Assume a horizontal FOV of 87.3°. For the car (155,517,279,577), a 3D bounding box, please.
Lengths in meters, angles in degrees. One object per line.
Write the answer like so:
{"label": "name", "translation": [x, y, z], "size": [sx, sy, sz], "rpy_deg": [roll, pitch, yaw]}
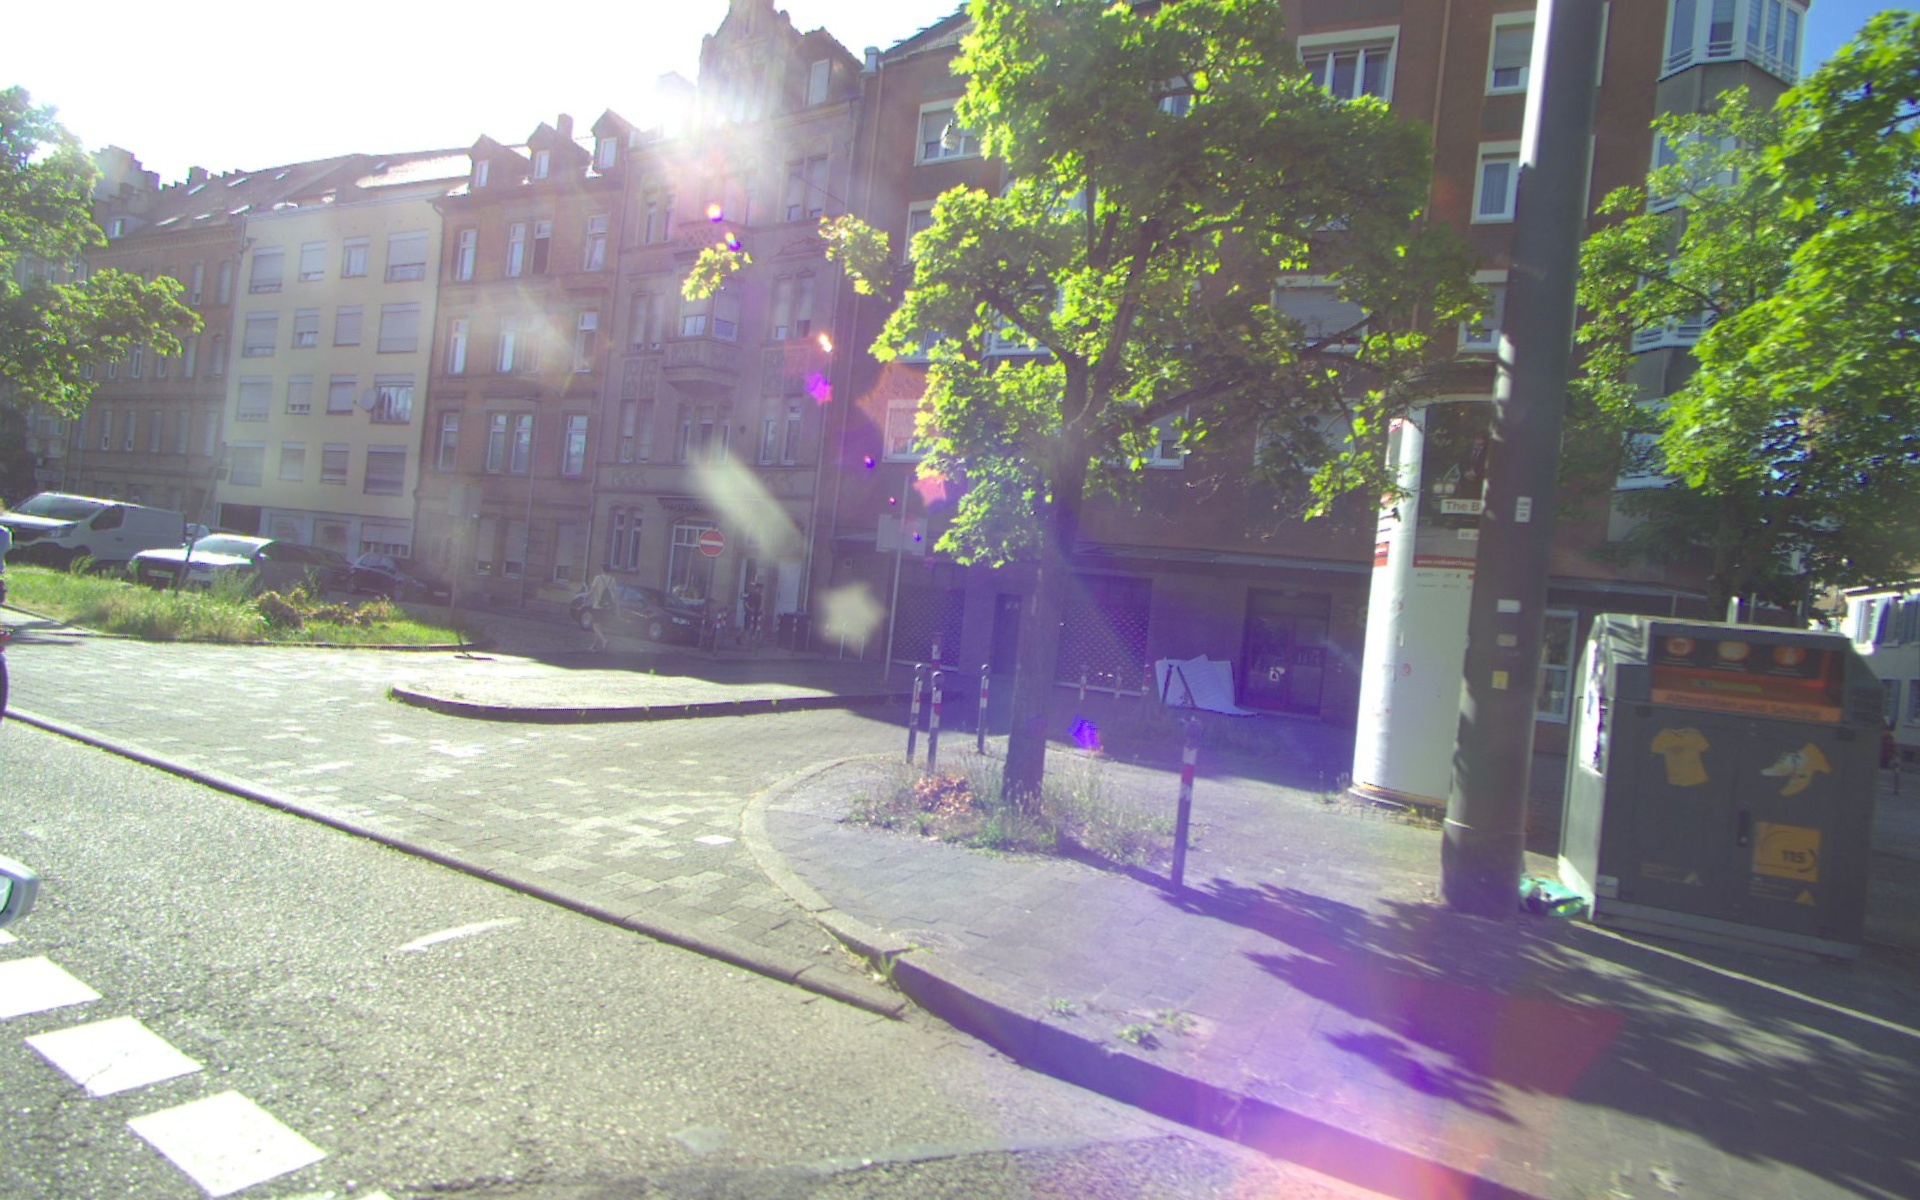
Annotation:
{"label": "car", "translation": [-28.962, -2.068, 39.200], "size": [4.545, 1.823, 1.997], "rpy_deg": [6, 1, 27]}

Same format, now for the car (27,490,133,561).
{"label": "car", "translation": [-38.452, -3.277, 43.924], "size": [4.436, 2.618, 1.996], "rpy_deg": [6, 1, 29]}

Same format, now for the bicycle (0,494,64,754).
{"label": "bicycle", "translation": [-6.922, 0.080, 6.887], "size": [1.905, 1.659, 0.438], "rpy_deg": [6, 0, 28]}

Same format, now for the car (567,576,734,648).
{"label": "car", "translation": [-8.538, 0.324, 27.670], "size": [4.415, 1.492, 1.807], "rpy_deg": [6, -1, 31]}

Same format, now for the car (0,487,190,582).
{"label": "car", "translation": [-22.632, -1.619, 25.993], "size": [1.985, 2.101, 4.874], "rpy_deg": [6, 0, -7]}

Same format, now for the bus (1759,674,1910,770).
{"label": "bus", "translation": [33.359, 4.535, 38.676], "size": [2.379, 3.103, 6.265], "rpy_deg": [6, -1, 24]}

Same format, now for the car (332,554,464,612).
{"label": "car", "translation": [-18.720, -0.581, 33.470], "size": [4.219, 1.438, 1.731], "rpy_deg": [6, 0, 28]}

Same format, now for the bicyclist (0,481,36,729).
{"label": "bicyclist", "translation": [-6.784, 0.000, 6.808], "size": [0.766, 1.659, 0.438], "rpy_deg": [6, 0, 29]}

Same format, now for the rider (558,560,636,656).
{"label": "rider", "translation": [-7.453, 0.178, 20.719], "size": [1.021, 1.842, 0.963], "rpy_deg": [6, 0, 6]}

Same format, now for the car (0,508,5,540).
{"label": "car", "translation": [-49.331, -3.968, 49.355], "size": [4.431, 1.548, 1.998], "rpy_deg": [6, 1, 24]}

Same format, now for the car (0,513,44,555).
{"label": "car", "translation": [-44.796, -3.190, 46.644], "size": [4.435, 1.711, 1.998], "rpy_deg": [5, -1, 29]}

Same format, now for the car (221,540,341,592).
{"label": "car", "translation": [-24.876, -1.254, 36.842], "size": [4.092, 1.438, 1.881], "rpy_deg": [6, 0, 28]}

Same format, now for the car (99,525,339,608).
{"label": "car", "translation": [-16.316, -0.696, 22.552], "size": [1.984, 1.453, 4.875], "rpy_deg": [6, 0, -5]}

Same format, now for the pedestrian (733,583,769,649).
{"label": "pedestrian", "translation": [-5.839, 0.446, 28.087], "size": [0.605, 1.780, 0.570], "rpy_deg": [6, 0, 30]}
